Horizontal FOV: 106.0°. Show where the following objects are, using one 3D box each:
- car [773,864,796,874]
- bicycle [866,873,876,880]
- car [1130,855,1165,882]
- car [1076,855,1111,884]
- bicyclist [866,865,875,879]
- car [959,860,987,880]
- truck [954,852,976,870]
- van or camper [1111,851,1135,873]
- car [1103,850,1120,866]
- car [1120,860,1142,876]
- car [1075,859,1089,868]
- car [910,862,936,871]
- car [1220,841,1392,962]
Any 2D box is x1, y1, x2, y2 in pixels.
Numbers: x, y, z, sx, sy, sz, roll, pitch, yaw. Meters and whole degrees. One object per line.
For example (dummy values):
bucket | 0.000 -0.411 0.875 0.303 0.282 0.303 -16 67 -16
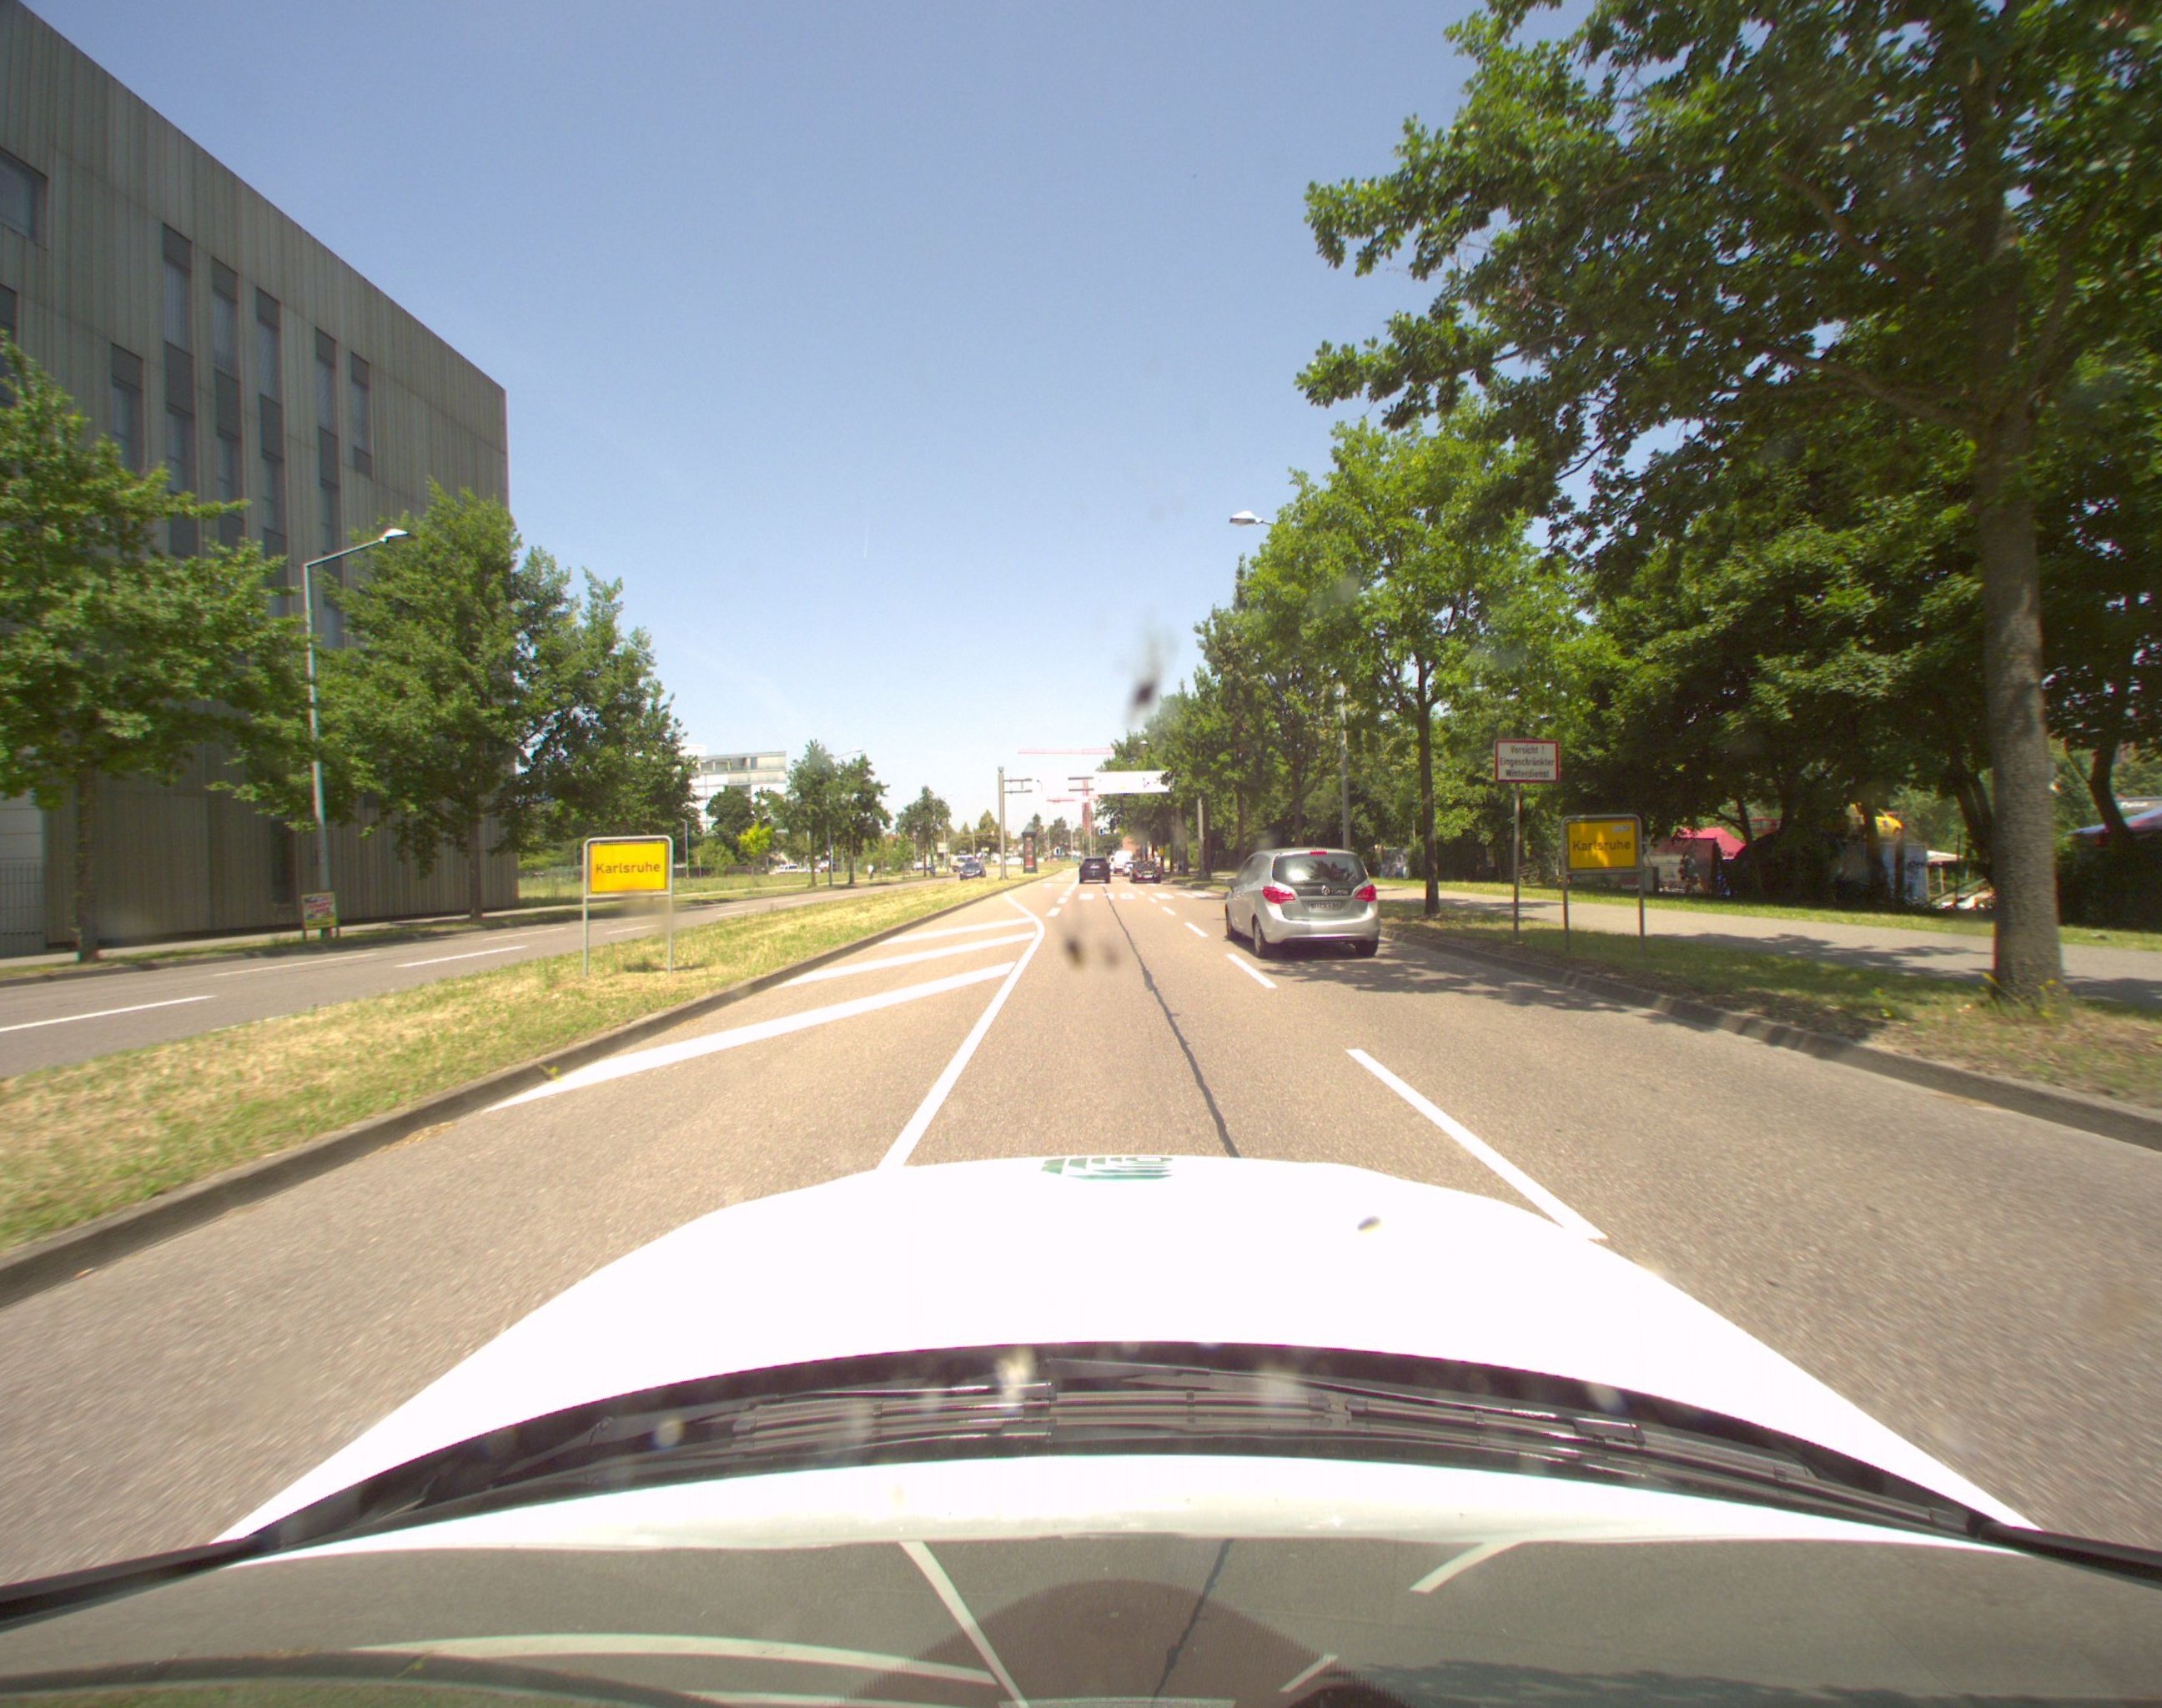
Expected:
car | -63.686 3.245 174.731 1.974 1.878 4.317 -2 -1 31
bicycle | -22.492 2.387 87.273 0.479 0.715 1.852 -2 0 4
car | 4.059 0.878 50.372 2.006 1.517 4.463 -2 0 3
car | 0.812 0.916 50.533 1.989 1.689 4.037 -1 0 3
bicyclist | -22.518 1.913 87.196 0.620 1.489 0.757 -2 -1 3
car | -9.451 1.342 71.297 1.887 1.610 4.532 -2 0 -1
truck | -18.065 1.045 127.136 2.632 2.576 6.312 -2 0 -2
van or camper | 4.659 0.865 91.399 2.484 2.291 4.922 -2 0 1
car | 4.032 0.536 107.233 1.988 2.013 3.998 -2 0 -1
car | 4.692 1.281 76.700 1.650 1.356 4.458 -2 0 -1
car | 0.100 1.429 129.412 1.989 1.321 3.995 -1 0 -4
car | -27.250 2.189 140.642 3.972 1.453 2.001 -2 -1 1
car | 3.383 0.639 12.983 1.785 1.612 3.893 -1 0 2
